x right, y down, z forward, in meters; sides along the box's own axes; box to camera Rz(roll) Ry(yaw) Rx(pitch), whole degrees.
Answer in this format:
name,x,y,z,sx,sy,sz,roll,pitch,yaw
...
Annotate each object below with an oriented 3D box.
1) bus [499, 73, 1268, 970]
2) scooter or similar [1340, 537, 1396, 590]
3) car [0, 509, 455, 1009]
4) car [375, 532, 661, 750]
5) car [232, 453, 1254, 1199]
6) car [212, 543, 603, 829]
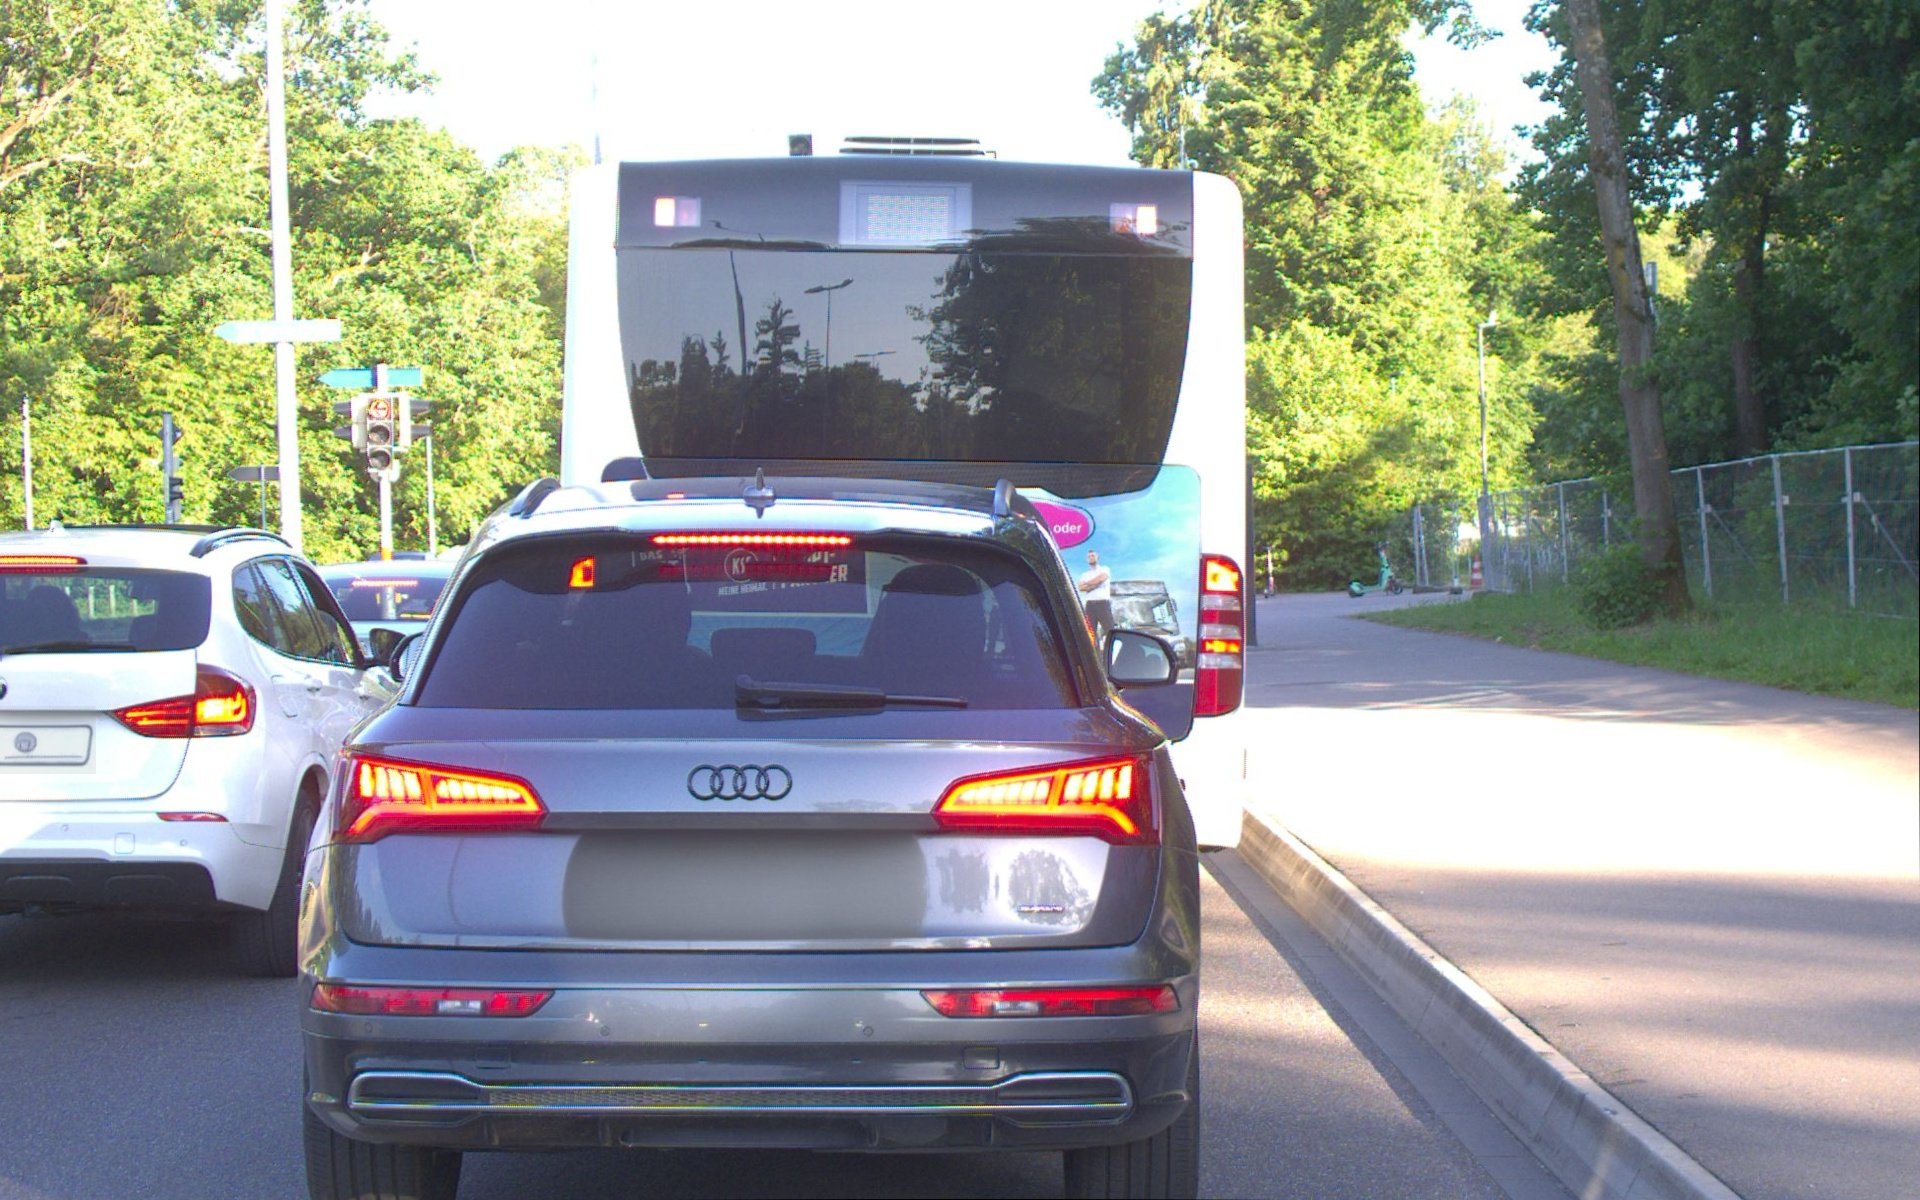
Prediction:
name,x,y,z,sx,sy,sz,roll,pitch,yaw
bus,-0.243,-0.354,15.083,2.678,3.131,5.882,1,2,1
scooter or similar,9.244,-0.831,77.844,1.184,1.170,0.659,1,1,11
car,-3.098,0.469,13.111,1.718,1.575,4.434,1,1,-1
car,-3.464,0.267,27.568,1.808,1.567,4.000,1,2,-1
car,-0.426,0.515,8.343,1.868,1.658,4.000,1,2,-1
car,-3.138,0.423,20.286,1.785,1.439,4.278,1,2,-2
